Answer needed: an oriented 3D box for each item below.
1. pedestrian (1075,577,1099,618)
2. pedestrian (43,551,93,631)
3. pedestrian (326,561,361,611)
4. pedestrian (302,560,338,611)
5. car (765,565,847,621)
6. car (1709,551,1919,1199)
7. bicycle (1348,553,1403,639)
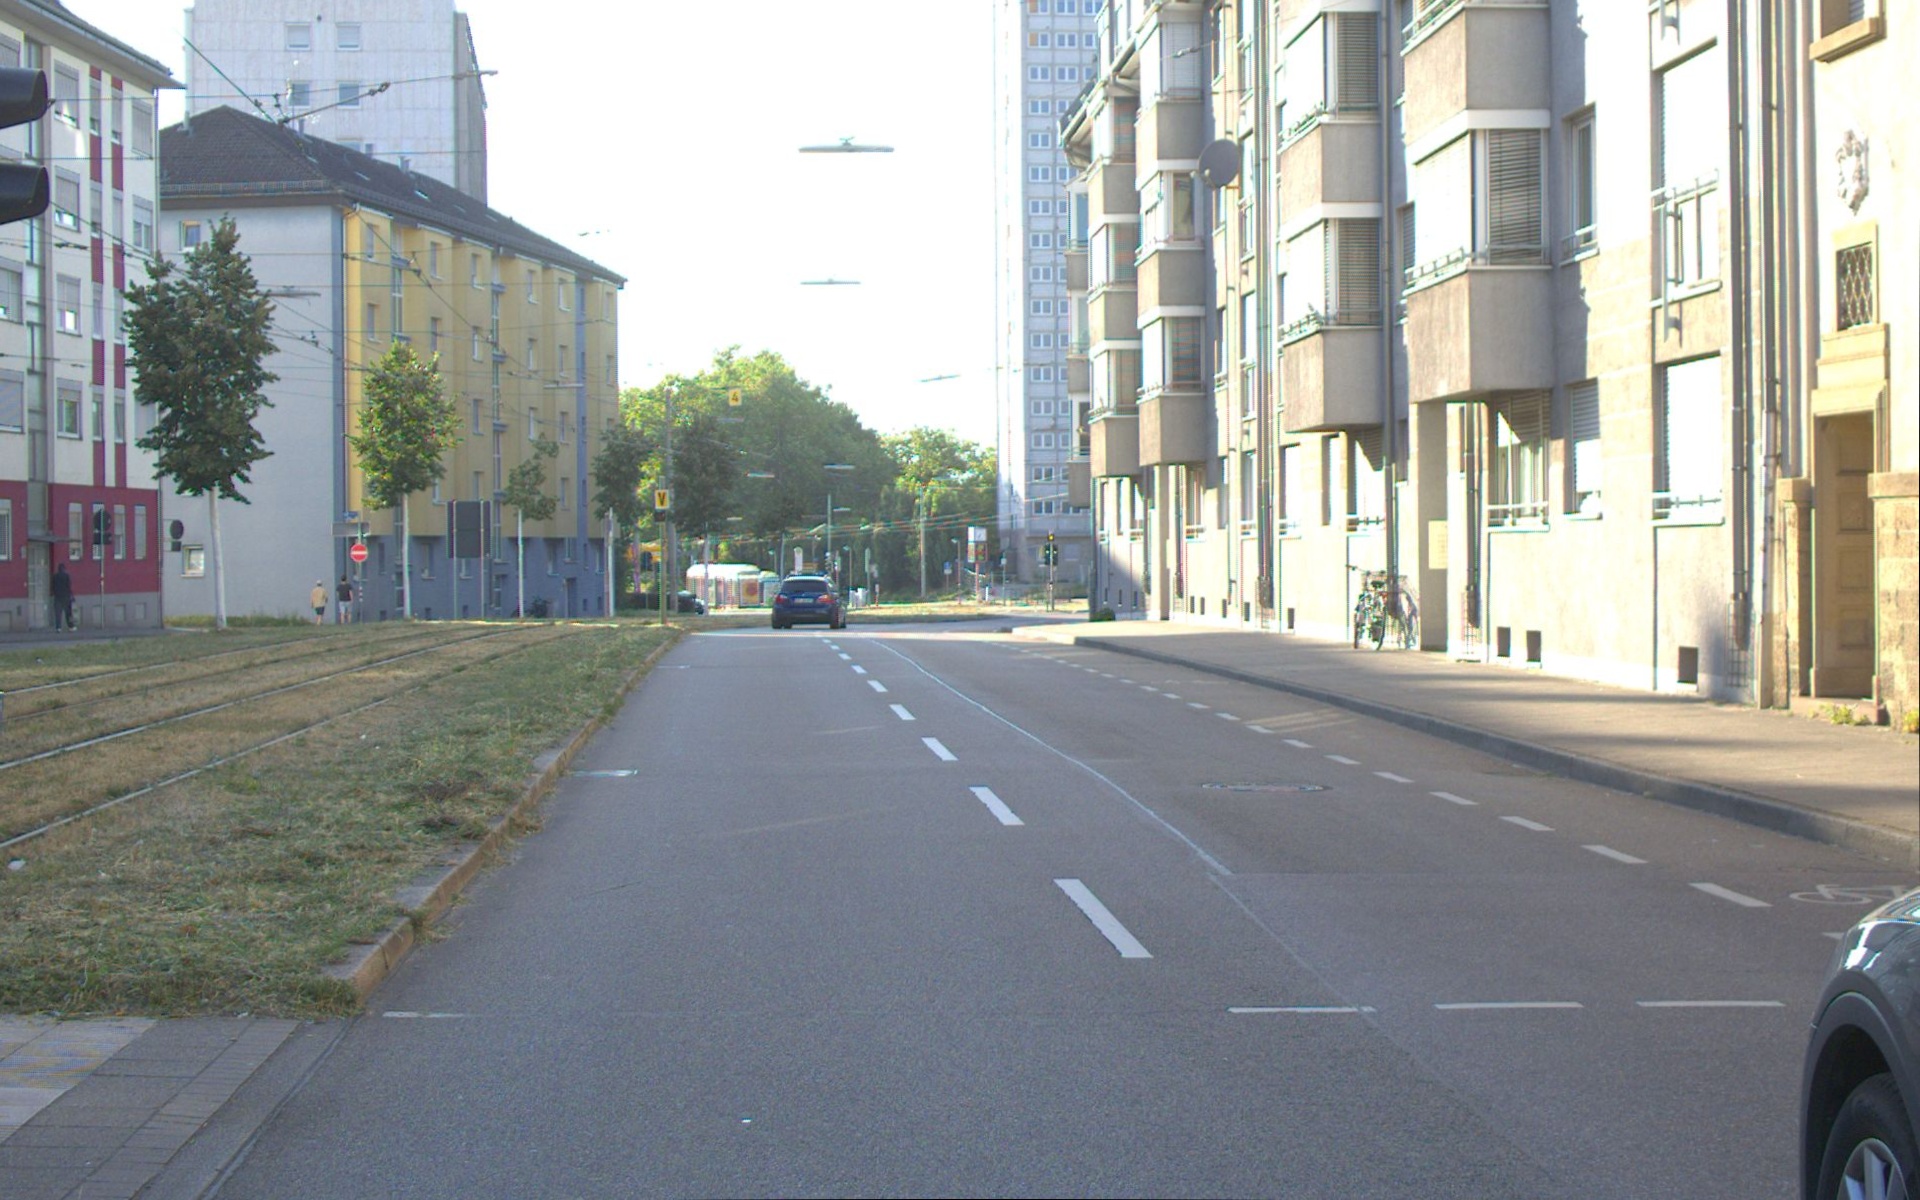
[{"bbox_3d":[3.831,-0.077,103.331,0.691,1.230,0.736,1,0,3],"label":"pedestrian"},{"bbox_3d":[-22.716,-0.226,87.542,1.005,2.028,0.886,1,0,3],"label":"pedestrian"},{"bbox_3d":[-20.704,-0.467,115.433,0.962,1.664,1.011,1,0,2],"label":"pedestrian"},{"bbox_3d":[-21.496,-0.487,115.429,0.962,1.688,1.011,1,0,2],"label":"pedestrian"},{"bbox_3d":[-4.108,-0.193,92.415,1.926,1.451,4.327,1,0,1],"label":"car"},{"bbox_3d":[2.349,0.708,4.262,1.697,1.547,4.226,0,0,-3],"label":"car"},{"bbox_3d":[5.371,-0.057,44.469,0.383,1.092,1.504,-1,0,-5],"label":"bicycle"}]
